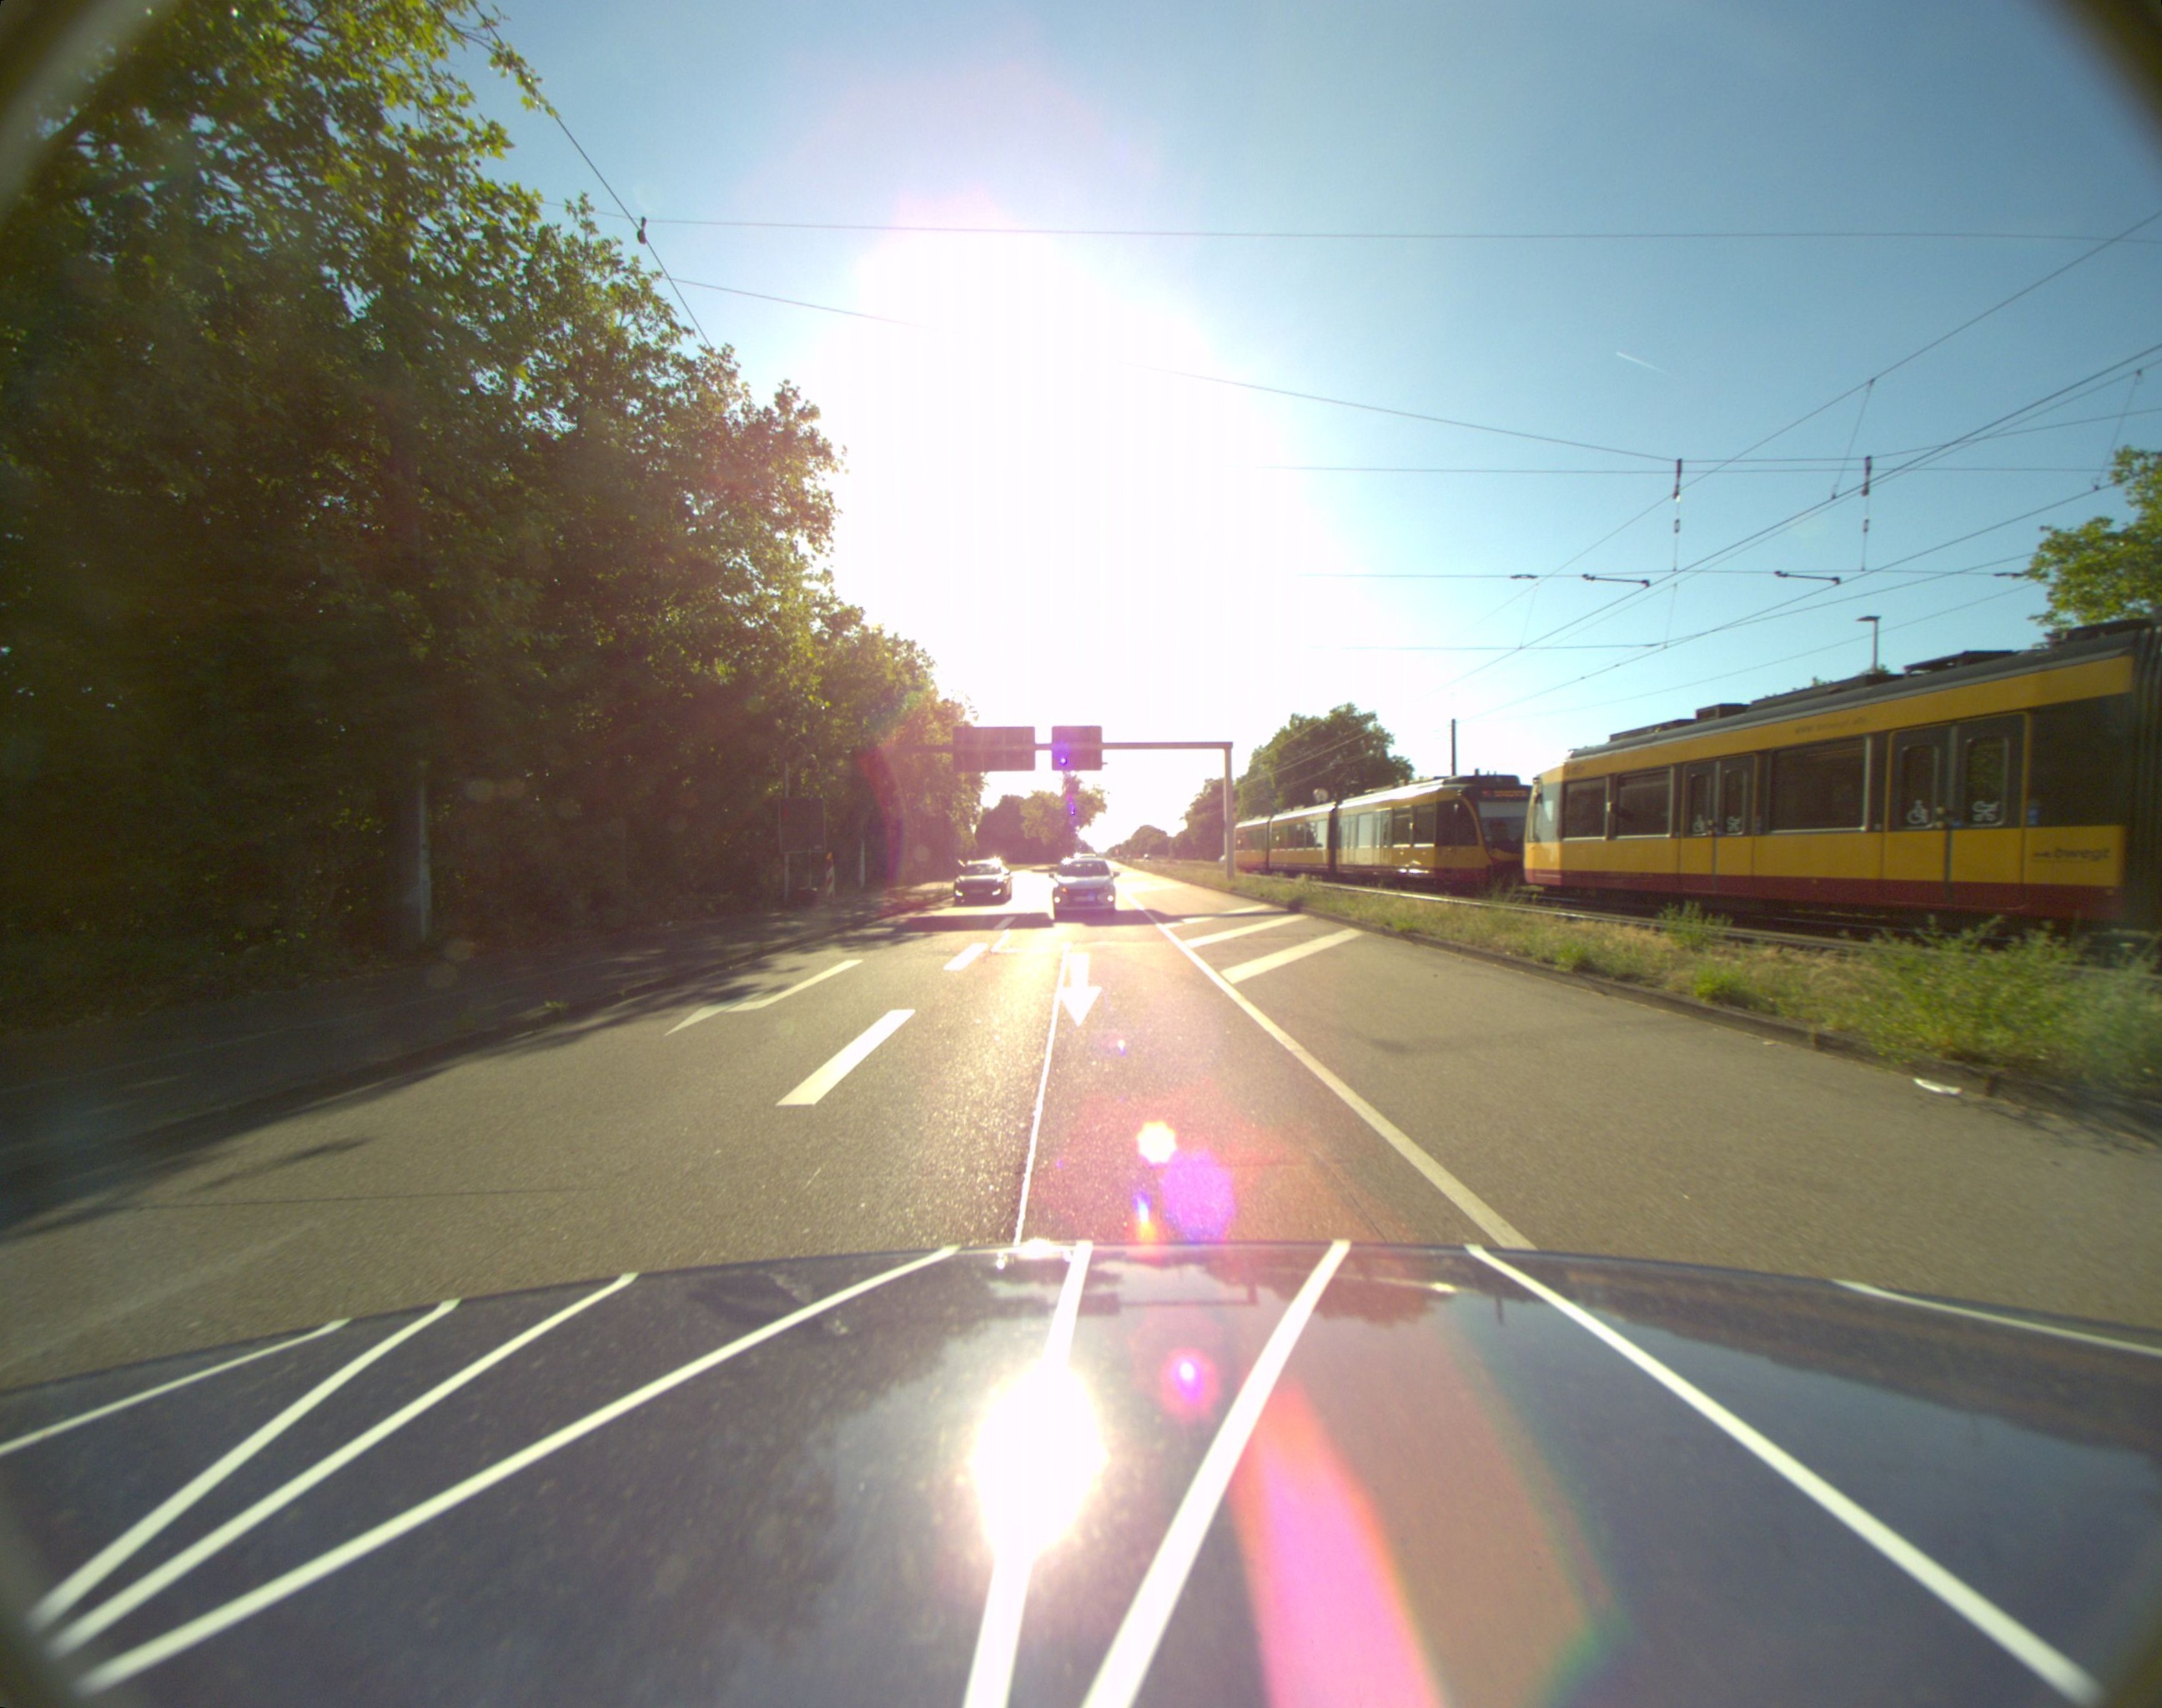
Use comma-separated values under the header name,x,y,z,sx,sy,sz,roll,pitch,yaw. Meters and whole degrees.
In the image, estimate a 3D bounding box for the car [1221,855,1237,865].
name,x,y,z,sx,sy,sz,roll,pitch,yaw
car,23.811,0.934,122.108,1.762,1.508,4.000,-2,1,1

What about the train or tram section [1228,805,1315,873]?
name,x,y,z,sx,sy,sz,roll,pitch,yaw
train or tram section,12.337,-0.893,50.514,2.891,3.924,11.665,-1,0,0

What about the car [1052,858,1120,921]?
name,x,y,z,sx,sy,sz,roll,pitch,yaw
car,0.152,0.901,20.833,1.671,1.465,3.744,-1,1,1

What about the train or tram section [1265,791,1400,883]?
name,x,y,z,sx,sy,sz,roll,pitch,yaw
train or tram section,12.289,-0.744,38.706,2.891,3.924,11.911,-1,0,0

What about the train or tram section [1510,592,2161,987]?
name,x,y,z,sx,sy,sz,roll,pitch,yaw
train or tram section,12.201,-0.673,12.990,2.891,3.924,12.111,-1,0,0

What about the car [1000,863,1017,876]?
name,x,y,z,sx,sy,sz,roll,pitch,yaw
car,-8.636,1.869,90.493,1.744,1.455,3.999,-1,0,-1

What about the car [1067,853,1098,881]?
name,x,y,z,sx,sy,sz,roll,pitch,yaw
car,0.068,0.775,47.638,1.824,1.608,3.999,-1,0,-1

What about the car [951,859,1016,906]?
name,x,y,z,sx,sy,sz,roll,pitch,yaw
car,-3.470,0.989,27.822,1.786,1.530,4.000,-1,0,1

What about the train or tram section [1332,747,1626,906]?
name,x,y,z,sx,sy,sz,roll,pitch,yaw
train or tram section,12.245,-0.706,25.904,2.891,3.924,13.659,-1,0,0
